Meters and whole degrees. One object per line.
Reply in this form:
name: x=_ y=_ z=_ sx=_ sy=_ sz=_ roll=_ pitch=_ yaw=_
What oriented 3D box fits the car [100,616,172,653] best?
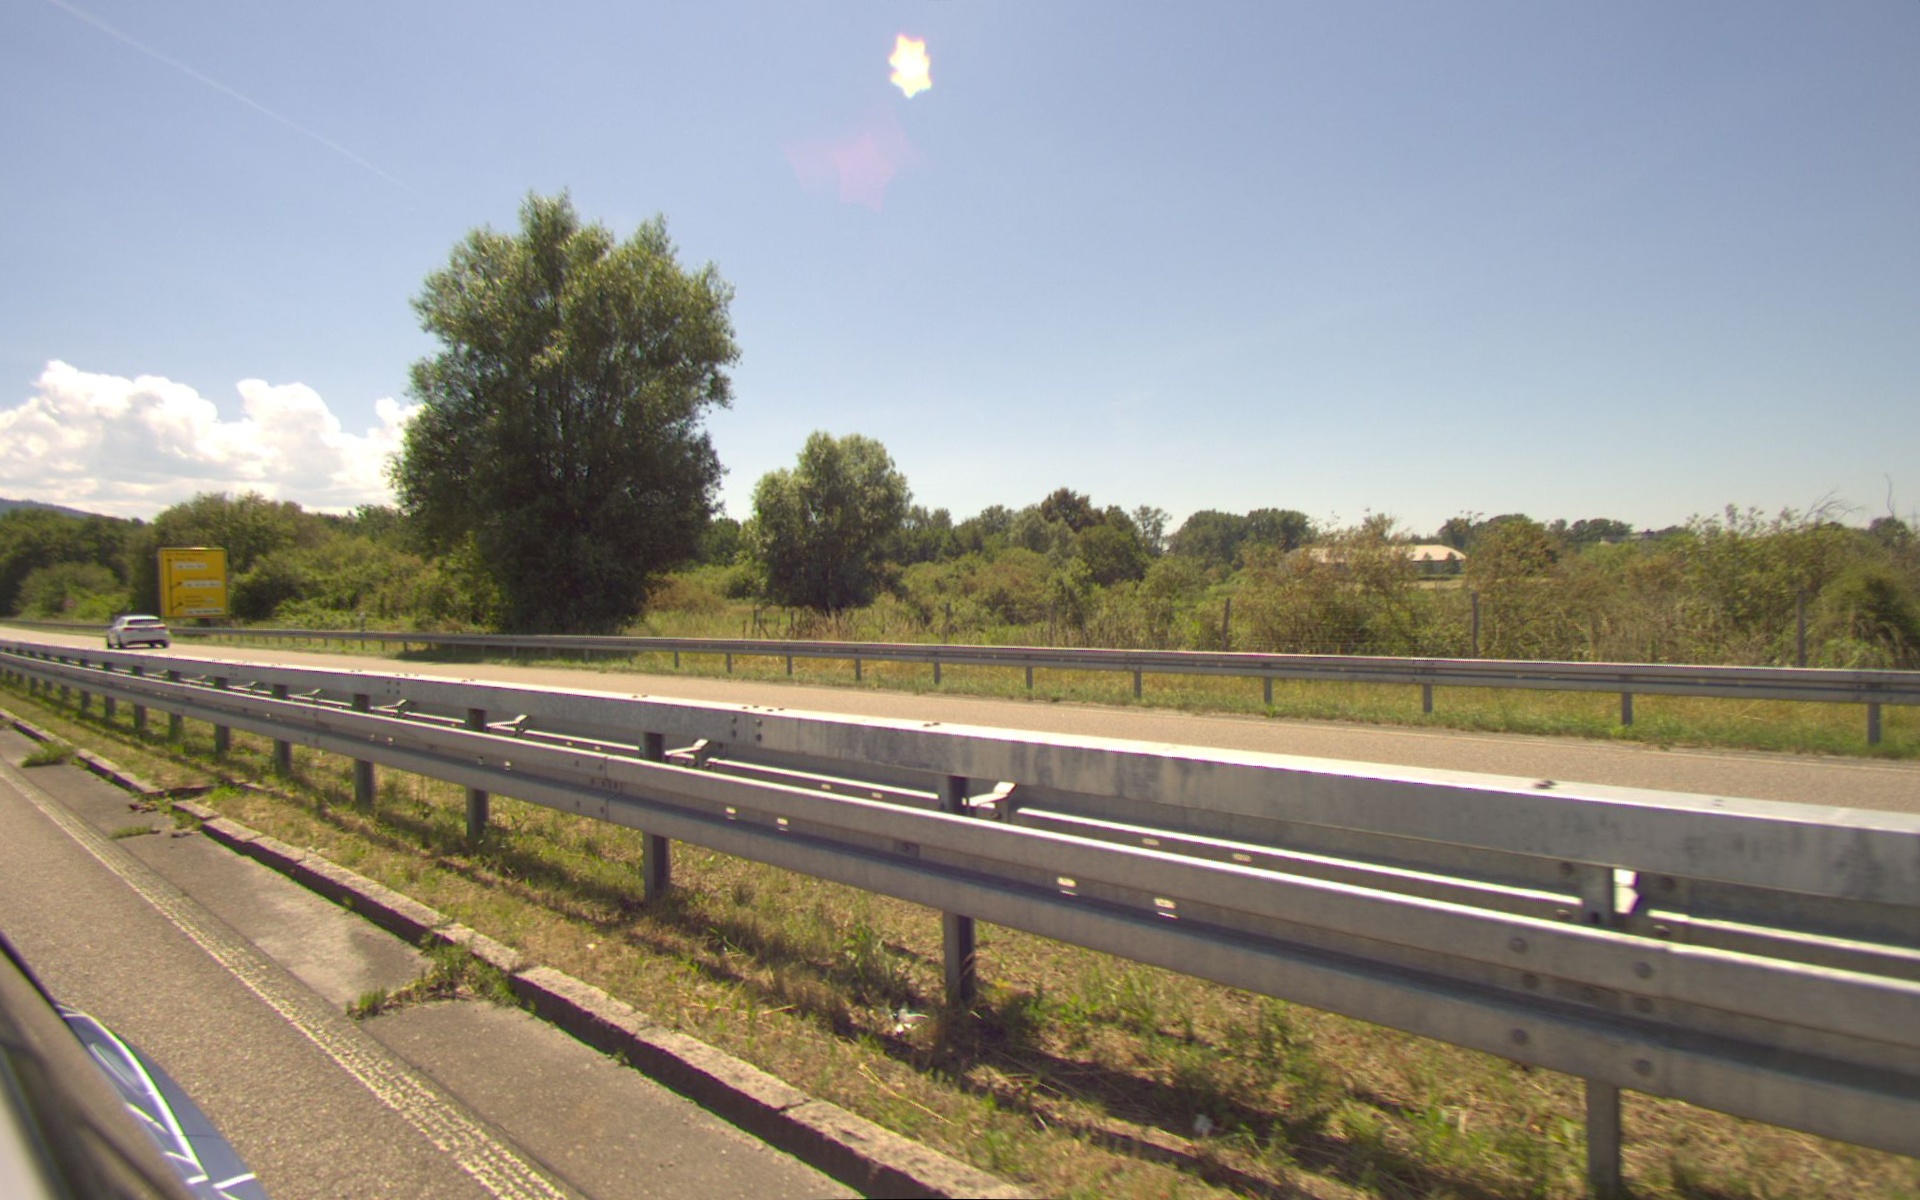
car: x=-36.966 y=1.531 z=45.358 sx=4.100 sy=1.509 sz=1.808 roll=-1 pitch=1 yaw=41
